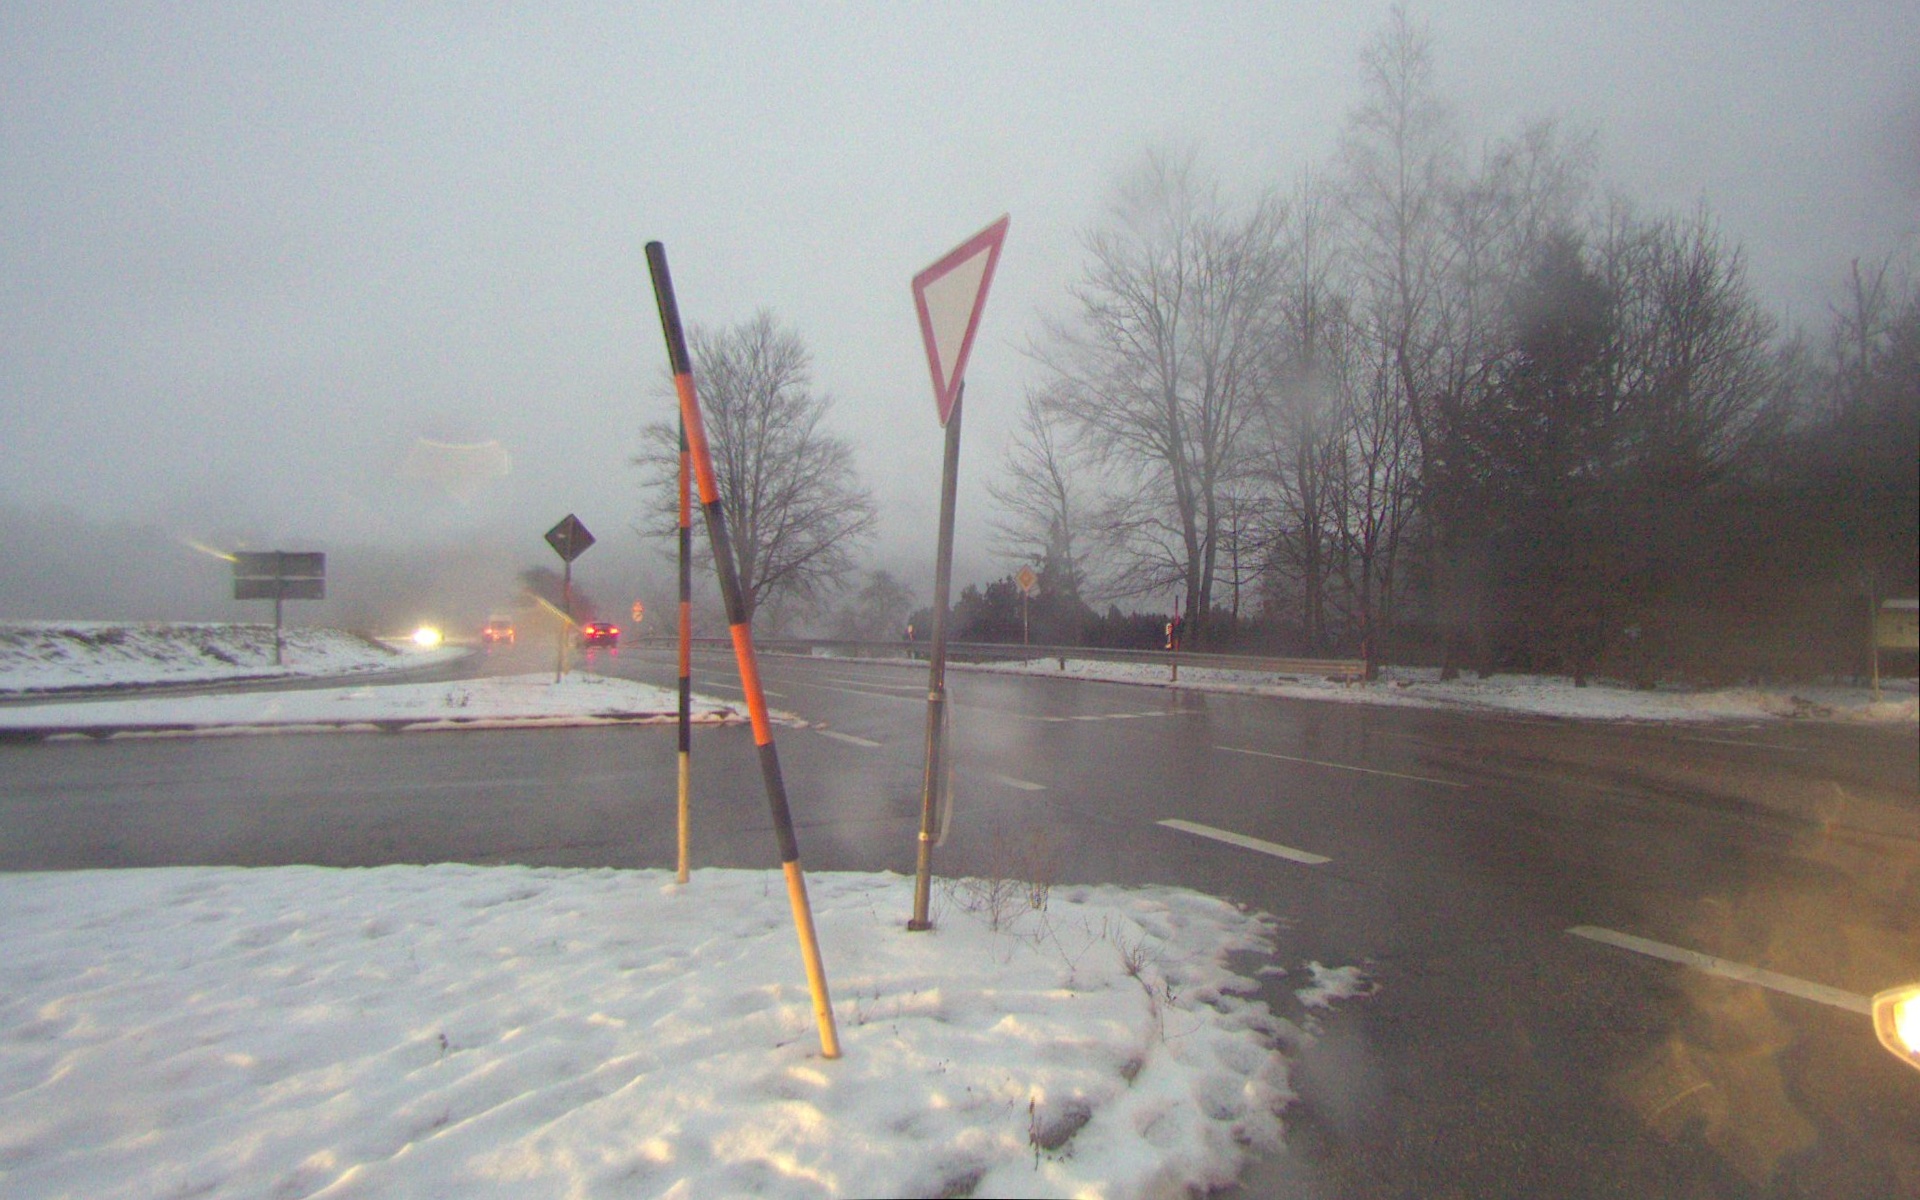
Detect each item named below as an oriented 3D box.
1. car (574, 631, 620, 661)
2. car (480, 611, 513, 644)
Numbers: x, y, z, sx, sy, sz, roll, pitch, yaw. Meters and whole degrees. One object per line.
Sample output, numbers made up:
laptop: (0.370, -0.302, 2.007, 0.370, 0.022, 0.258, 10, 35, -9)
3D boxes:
car: (-20.796, 2.602, 57.483, 1.680, 1.572, 3.821, 3, -2, -32)
car: (-43.272, 2.557, 93.678, 2.129, 2.731, 5.483, 3, 0, -31)
